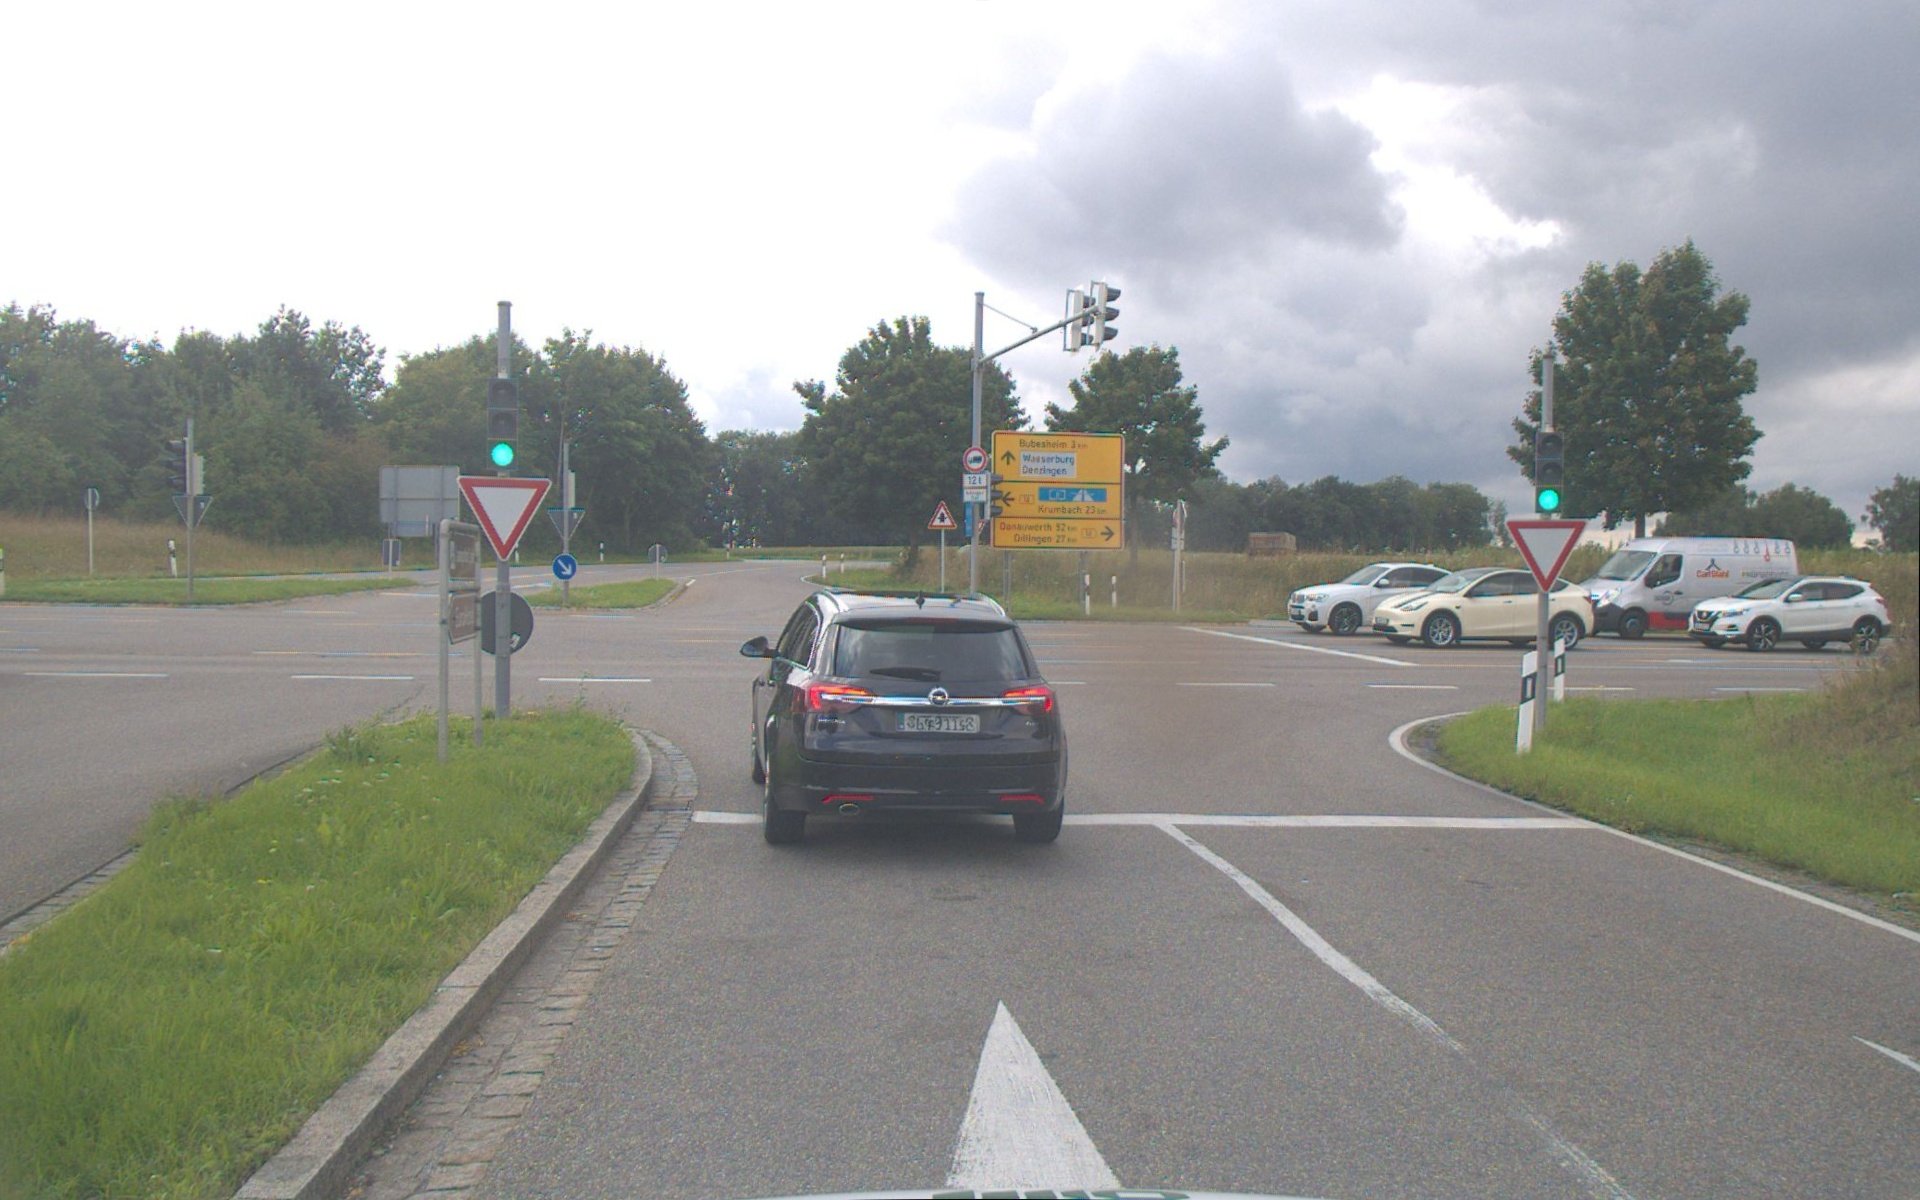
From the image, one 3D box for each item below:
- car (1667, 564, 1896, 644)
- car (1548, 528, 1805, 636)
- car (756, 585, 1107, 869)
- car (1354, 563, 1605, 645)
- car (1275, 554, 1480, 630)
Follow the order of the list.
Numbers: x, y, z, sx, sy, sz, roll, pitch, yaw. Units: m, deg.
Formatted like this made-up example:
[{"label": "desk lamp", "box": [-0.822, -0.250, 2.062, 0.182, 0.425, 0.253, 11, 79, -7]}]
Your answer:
[{"label": "car", "box": [18.119, 0.084, 36.541, 4.234, 1.658, 1.994, 1, 0, -13]}, {"label": "car", "box": [17.517, -0.427, 40.546, 5.398, 2.484, 2.391, 1, 0, -12]}, {"label": "car", "box": [-0.400, 0.660, 10.938, 1.774, 1.476, 4.265, 1, 1, -8]}, {"label": "car", "box": [10.844, 0.080, 34.609, 4.651, 1.592, 1.994, 1, 0, -13]}, {"label": "car", "box": [9.651, -0.179, 38.342, 4.188, 1.657, 1.993, 1, 0, -14]}]
